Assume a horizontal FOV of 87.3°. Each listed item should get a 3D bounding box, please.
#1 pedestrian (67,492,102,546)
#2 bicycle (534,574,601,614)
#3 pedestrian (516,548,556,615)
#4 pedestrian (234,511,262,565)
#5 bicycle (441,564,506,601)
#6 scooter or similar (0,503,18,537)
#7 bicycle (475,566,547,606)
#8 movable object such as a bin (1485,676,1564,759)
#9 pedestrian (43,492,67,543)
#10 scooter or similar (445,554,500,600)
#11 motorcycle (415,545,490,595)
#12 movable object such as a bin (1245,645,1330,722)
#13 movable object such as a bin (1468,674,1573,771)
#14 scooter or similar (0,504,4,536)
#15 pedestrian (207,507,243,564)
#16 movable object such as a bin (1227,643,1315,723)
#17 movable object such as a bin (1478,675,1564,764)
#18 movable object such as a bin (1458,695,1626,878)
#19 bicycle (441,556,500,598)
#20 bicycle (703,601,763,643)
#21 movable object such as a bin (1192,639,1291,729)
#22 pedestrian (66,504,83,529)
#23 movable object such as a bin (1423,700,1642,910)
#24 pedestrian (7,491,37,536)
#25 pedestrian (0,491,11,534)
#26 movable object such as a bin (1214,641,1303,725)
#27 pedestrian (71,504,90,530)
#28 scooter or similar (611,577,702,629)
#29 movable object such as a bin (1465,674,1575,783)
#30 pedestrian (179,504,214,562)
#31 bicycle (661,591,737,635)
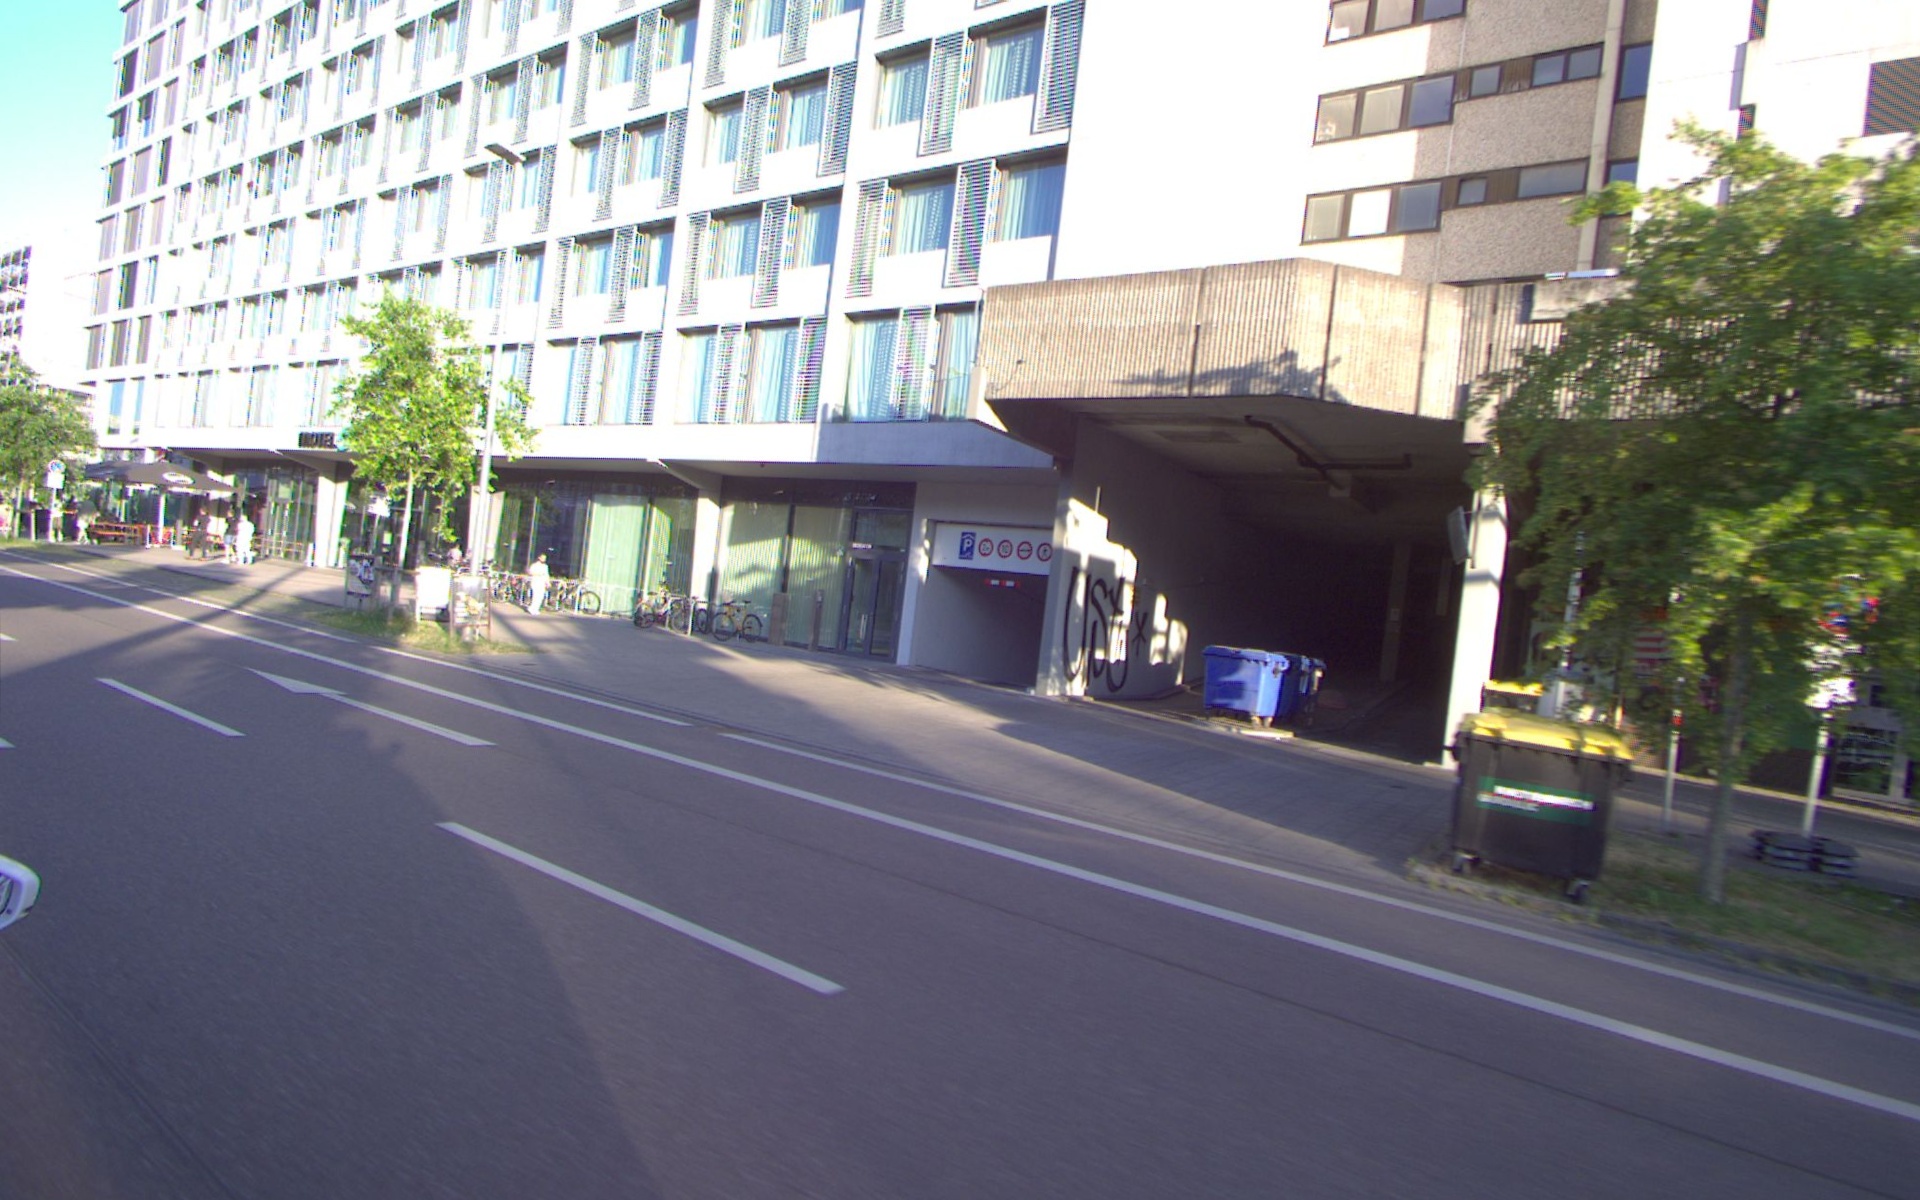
[{"bbox_3d":[-32.838,-3.016,37.715,0.854,1.912,0.822,6,1,43],"label":"pedestrian"},{"bbox_3d":[-10.936,-0.158,28.077,0.541,0.999,1.700,7,2,31],"label":"bicycle"},{"bbox_3d":[-11.018,-0.478,26.151,0.632,1.640,0.576,7,3,31],"label":"pedestrian"},{"bbox_3d":[-25.220,-2.183,35.643,0.766,1.836,0.617,7,3,44],"label":"pedestrian"},{"bbox_3d":[-14.828,-0.521,30.716,0.541,0.999,1.701,7,1,31],"label":"bicycle"},{"bbox_3d":[-35.919,-3.012,37.333,1.282,1.234,0.531,4,2,-32],"label":"scooter or similar"},{"bbox_3d":[-13.154,-0.400,29.505,0.556,1.023,1.886,7,2,32],"label":"bicycle"},{"bbox_3d":[10.411,2.137,18.532,1.070,1.329,1.182,7,0,33],"label":"movable object such as a bin"},{"bbox_3d":[-33.559,-3.037,37.309,0.573,1.809,0.819,4,1,-41],"label":"pedestrian"},{"bbox_3d":[-14.522,-0.672,30.013,0.598,1.249,1.268,7,2,30],"label":"scooter or similar"},{"bbox_3d":[-15.993,-0.924,31.755,0.659,1.404,2.117,7,1,20],"label":"motorcycle"},{"bbox_3d":[6.632,1.676,20.376,1.262,1.346,1.074,7,1,33],"label":"movable object such as a bin"},{"bbox_3d":[9.077,1.957,16.287,1.283,1.315,1.182,7,0,33],"label":"movable object such as a bin"},{"bbox_3d":[-37.071,-3.100,38.148,1.122,1.229,0.526,4,1,-41],"label":"scooter or similar"},{"bbox_3d":[-25.416,-2.220,34.795,0.928,1.848,0.754,7,2,44],"label":"pedestrian"},{"bbox_3d":[6.029,1.601,19.490,1.262,1.346,1.033,7,1,34],"label":"movable object such as a bin"},{"bbox_3d":[9.762,2.041,17.476,1.106,1.329,1.182,7,0,33],"label":"movable object such as a bin"},{"bbox_3d":[5.397,1.680,9.390,1.141,1.365,1.014,7,3,29],"label":"movable object such as a bin"},{"bbox_3d":[-15.335,-0.709,31.560,0.601,1.170,1.610,7,2,22],"label":"bicycle"},{"bbox_3d":[-5.522,0.539,24.539,0.450,0.902,1.422,7,0,33],"label":"bicycle"},{"bbox_3d":[4.924,1.442,17.558,1.262,1.347,1.105,7,2,33],"label":"movable object such as a bin"},{"bbox_3d":[-49.252,-4.631,55.949,0.609,1.337,0.614,3,3,-37],"label":"pedestrian"},{"bbox_3d":[4.643,1.607,8.270,1.337,1.319,1.086,7,2,28],"label":"movable object such as a bin"},{"bbox_3d":[-39.101,-3.612,41.922,0.749,1.758,0.685,7,3,34],"label":"pedestrian"},{"bbox_3d":[-39.394,-3.606,41.155,0.678,1.724,0.653,7,2,34],"label":"pedestrian"},{"bbox_3d":[5.497,1.524,18.515,1.182,1.346,1.074,7,1,33],"label":"movable object such as a bin"},{"bbox_3d":[-48.246,-4.533,55.190,0.742,1.337,0.705,3,3,-43],"label":"pedestrian"},{"bbox_3d":[-7.975,0.096,26.544,0.610,1.198,2.373,7,1,33],"label":"scooter or similar"},{"bbox_3d":[8.407,1.886,15.089,1.246,1.341,1.181,7,3,33],"label":"movable object such as a bin"},{"bbox_3d":[-26.156,-2.290,34.460,0.928,1.873,0.741,7,3,44],"label":"pedestrian"},{"bbox_3d":[-6.647,0.356,25.748,0.610,0.970,2.019,7,1,28],"label":"bicycle"}]
